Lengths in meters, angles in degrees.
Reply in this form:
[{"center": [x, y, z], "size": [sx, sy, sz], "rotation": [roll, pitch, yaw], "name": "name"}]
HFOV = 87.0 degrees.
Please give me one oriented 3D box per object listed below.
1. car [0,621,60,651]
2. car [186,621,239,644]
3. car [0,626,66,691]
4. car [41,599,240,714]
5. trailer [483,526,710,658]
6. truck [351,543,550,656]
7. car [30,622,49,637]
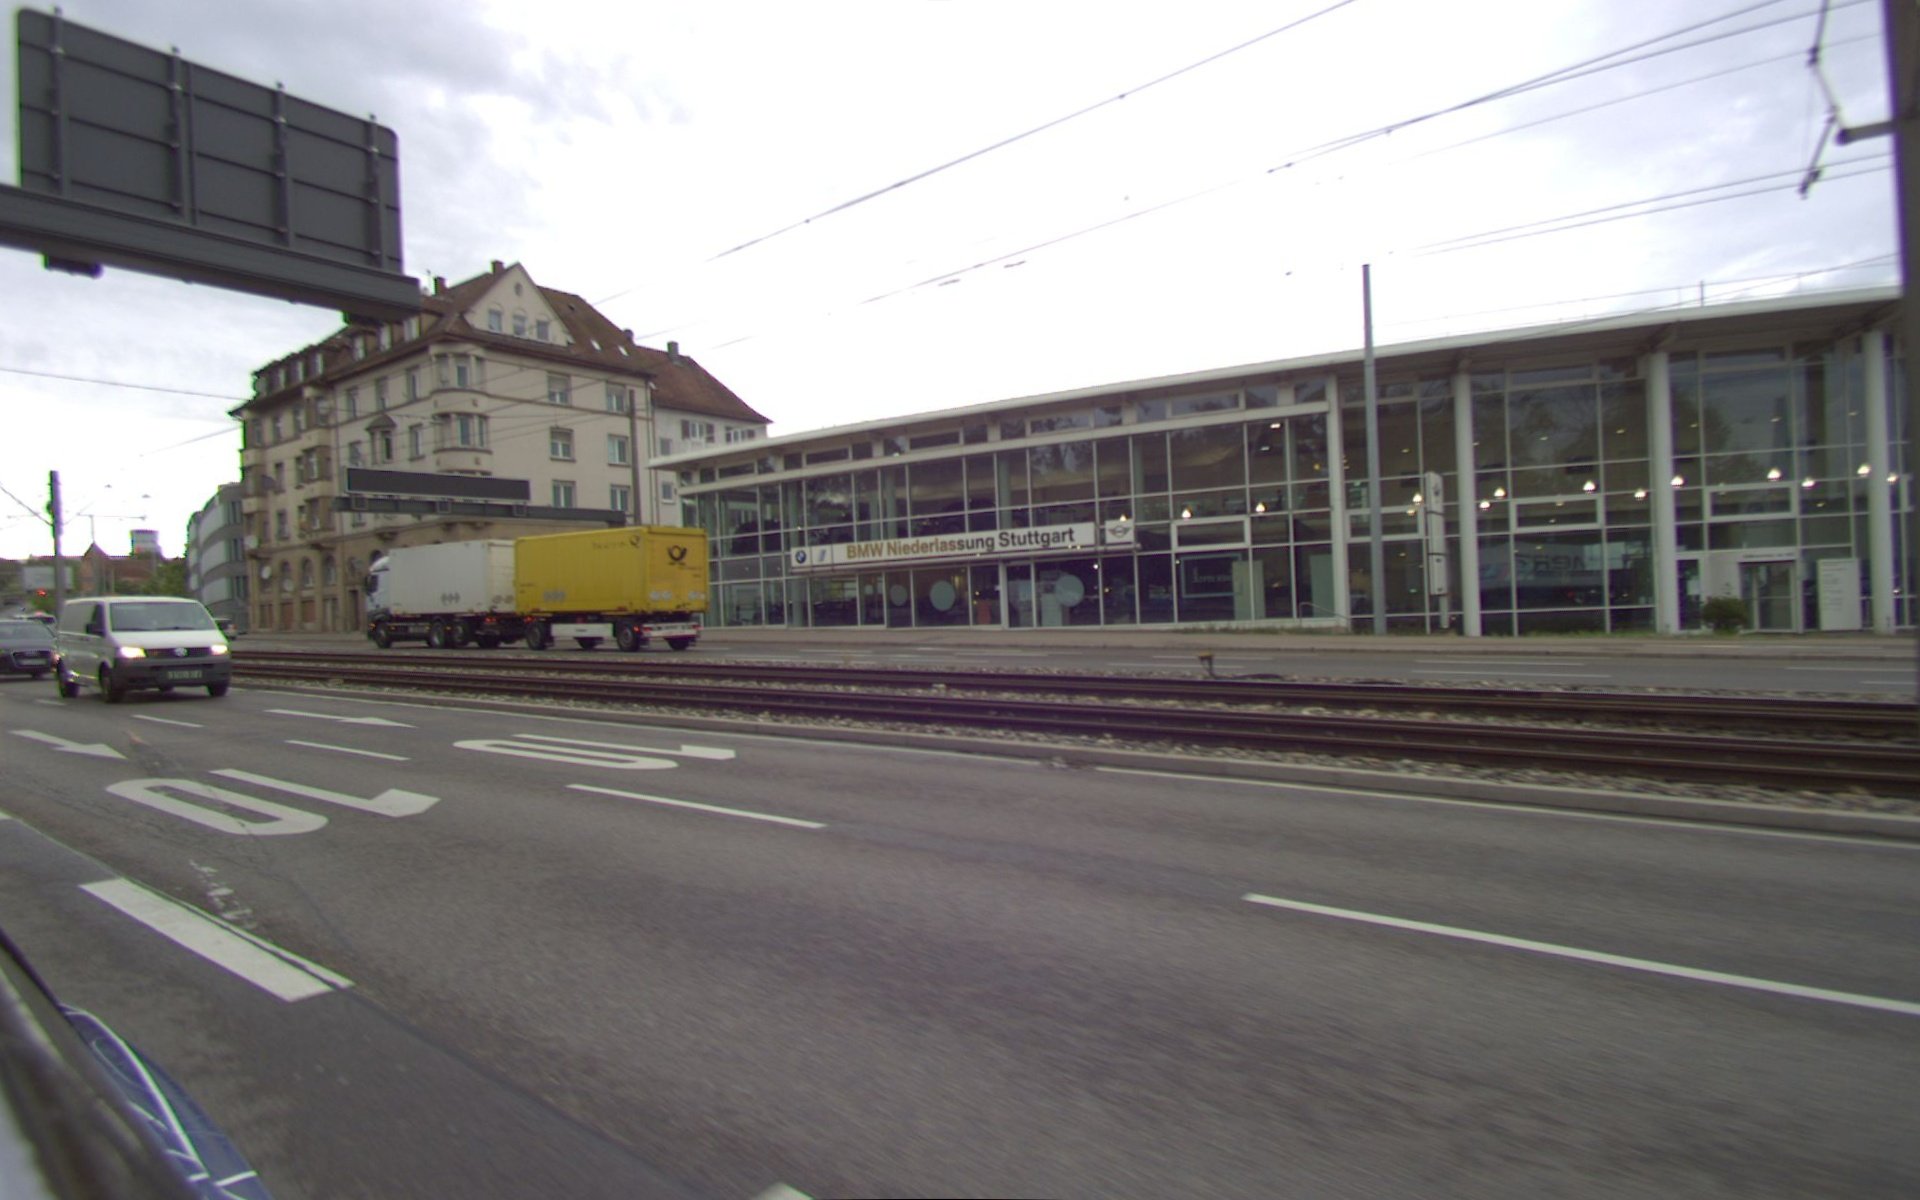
[{"center": [-61.561, 2.379, 66.907], "size": [5.181, 1.888, 1.976], "rotation": [-2, 0, 36], "name": "car"}, {"center": [-47.578, 2.074, 64.376], "size": [3.843, 1.415, 1.665], "rotation": [-2, -1, 36], "name": "car"}, {"center": [-25.122, 1.517, 26.558], "size": [3.888, 1.585, 1.689], "rotation": [-2, -1, 36], "name": "car"}, {"center": [-16.069, 1.048, 19.761], "size": [4.709, 1.973, 1.892], "rotation": [-2, 0, 37], "name": "car"}, {"center": [-12.751, -0.166, 34.999], "size": [9.062, 4.082, 2.660], "rotation": [-2, -1, 35], "name": "trailer"}, {"center": [-20.608, 0.085, 40.561], "size": [10.120, 4.082, 2.660], "rotation": [-2, -1, 35], "name": "truck"}, {"center": [-157.488, 5.084, 173.180], "size": [2.303, 2.486, 7.036], "rotation": [0, -1, -41], "name": "car"}]
